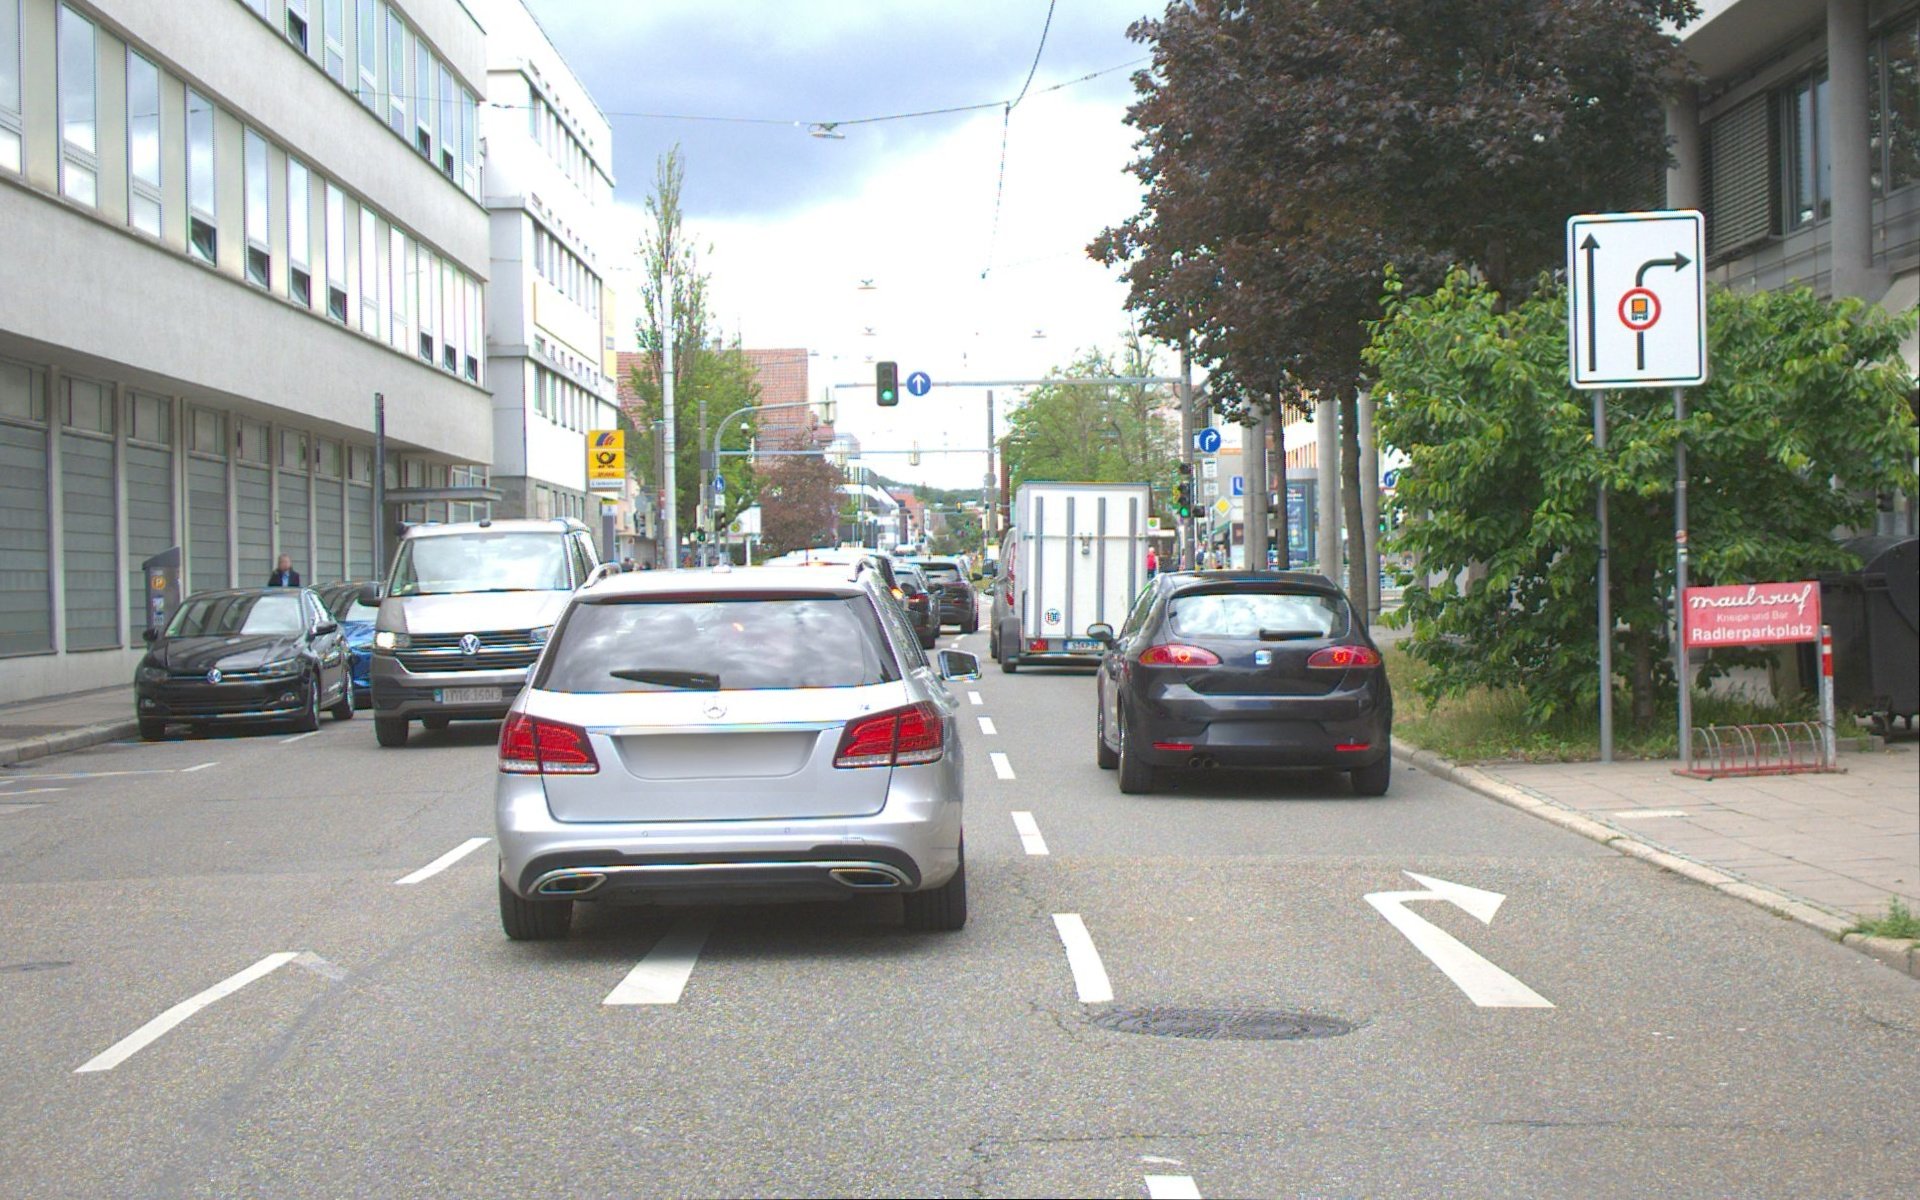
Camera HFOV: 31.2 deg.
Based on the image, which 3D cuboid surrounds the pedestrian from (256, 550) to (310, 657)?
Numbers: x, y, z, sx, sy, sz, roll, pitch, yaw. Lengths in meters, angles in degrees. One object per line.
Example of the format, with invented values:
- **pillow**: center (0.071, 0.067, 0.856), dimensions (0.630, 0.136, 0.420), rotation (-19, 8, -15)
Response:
- **pedestrian**: center (-10.347, 0.051, 52.546), dimensions (0.656, 1.617, 0.681), rotation (-1, 1, 1)

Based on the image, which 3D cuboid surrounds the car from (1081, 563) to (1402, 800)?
- **car**: center (1.811, 0.484, 23.196), dimensions (1.765, 1.428, 3.828), rotation (-1, 1, -1)

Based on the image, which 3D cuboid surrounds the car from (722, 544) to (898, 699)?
- **car**: center (-1.587, 0.193, 37.374), dimensions (1.803, 1.596, 3.738), rotation (0, 1, -1)

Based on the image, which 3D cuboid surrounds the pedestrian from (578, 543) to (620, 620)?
- **pedestrian**: center (-8.806, -0.456, 83.840), dimensions (0.918, 1.862, 0.783), rotation (-1, 1, -1)

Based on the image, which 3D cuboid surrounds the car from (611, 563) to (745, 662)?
- **car**: center (-4.342, 0.162, 53.490), dimensions (1.769, 1.408, 4.175), rotation (-2, 1, -1)

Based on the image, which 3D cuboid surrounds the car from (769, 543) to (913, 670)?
- **car**: center (-1.539, 0.057, 45.111), dimensions (1.803, 1.596, 3.738), rotation (0, 1, -1)

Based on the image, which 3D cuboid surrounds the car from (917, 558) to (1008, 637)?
- **car**: center (0.026, -0.072, 71.669), dimensions (1.803, 1.596, 3.738), rotation (0, 1, -1)

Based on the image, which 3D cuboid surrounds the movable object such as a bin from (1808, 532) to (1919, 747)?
- **movable object such as a bin**: center (6.761, 0.258, 24.543), dimensions (0.943, 1.465, 1.446), rotation (-3, 0, -3)

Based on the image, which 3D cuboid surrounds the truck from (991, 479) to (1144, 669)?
- **truck**: center (1.515, -0.383, 49.392), dimensions (1.993, 2.598, 3.260), rotation (-1, 1, -1)

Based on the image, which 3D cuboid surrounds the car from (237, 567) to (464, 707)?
- **car**: center (-7.121, 0.394, 40.581), dimensions (1.993, 1.511, 4.175), rotation (-1, 1, -1)

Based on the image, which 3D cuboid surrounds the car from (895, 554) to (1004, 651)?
- **car**: center (-0.211, 0.019, 58.941), dimensions (1.803, 1.596, 3.738), rotation (0, 1, -1)

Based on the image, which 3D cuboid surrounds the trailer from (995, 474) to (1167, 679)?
- **trailer**: center (1.575, -0.337, 46.592), dimensions (1.993, 2.598, 5.349), rotation (-1, 1, -1)

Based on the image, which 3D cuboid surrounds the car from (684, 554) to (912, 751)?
- **car**: center (-1.339, 0.396, 29.439), dimensions (1.803, 1.547, 3.738), rotation (-1, 1, -1)

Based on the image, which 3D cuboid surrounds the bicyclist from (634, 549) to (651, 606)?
- **bicyclist**: center (-9.461, -0.660, 102.522), dimensions (0.445, 1.691, 0.555), rotation (1, 0, -1)

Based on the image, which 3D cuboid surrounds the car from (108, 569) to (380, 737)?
- **car**: center (-7.183, 0.487, 34.895), dimensions (1.912, 1.511, 4.175), rotation (-2, 1, -1)

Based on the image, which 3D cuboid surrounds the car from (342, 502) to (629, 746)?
- **car**: center (-4.267, 0.171, 31.654), dimensions (1.993, 2.007, 4.903), rotation (-2, 1, -1)

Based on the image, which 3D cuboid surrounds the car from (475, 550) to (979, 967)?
- **car**: center (-0.881, 0.549, 14.349), dimensions (1.803, 1.487, 3.738), rotation (-1, 1, -1)

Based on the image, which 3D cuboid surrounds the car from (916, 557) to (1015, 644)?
- **car**: center (0.070, -0.014, 65.559), dimensions (1.803, 1.596, 3.738), rotation (0, 1, -1)
